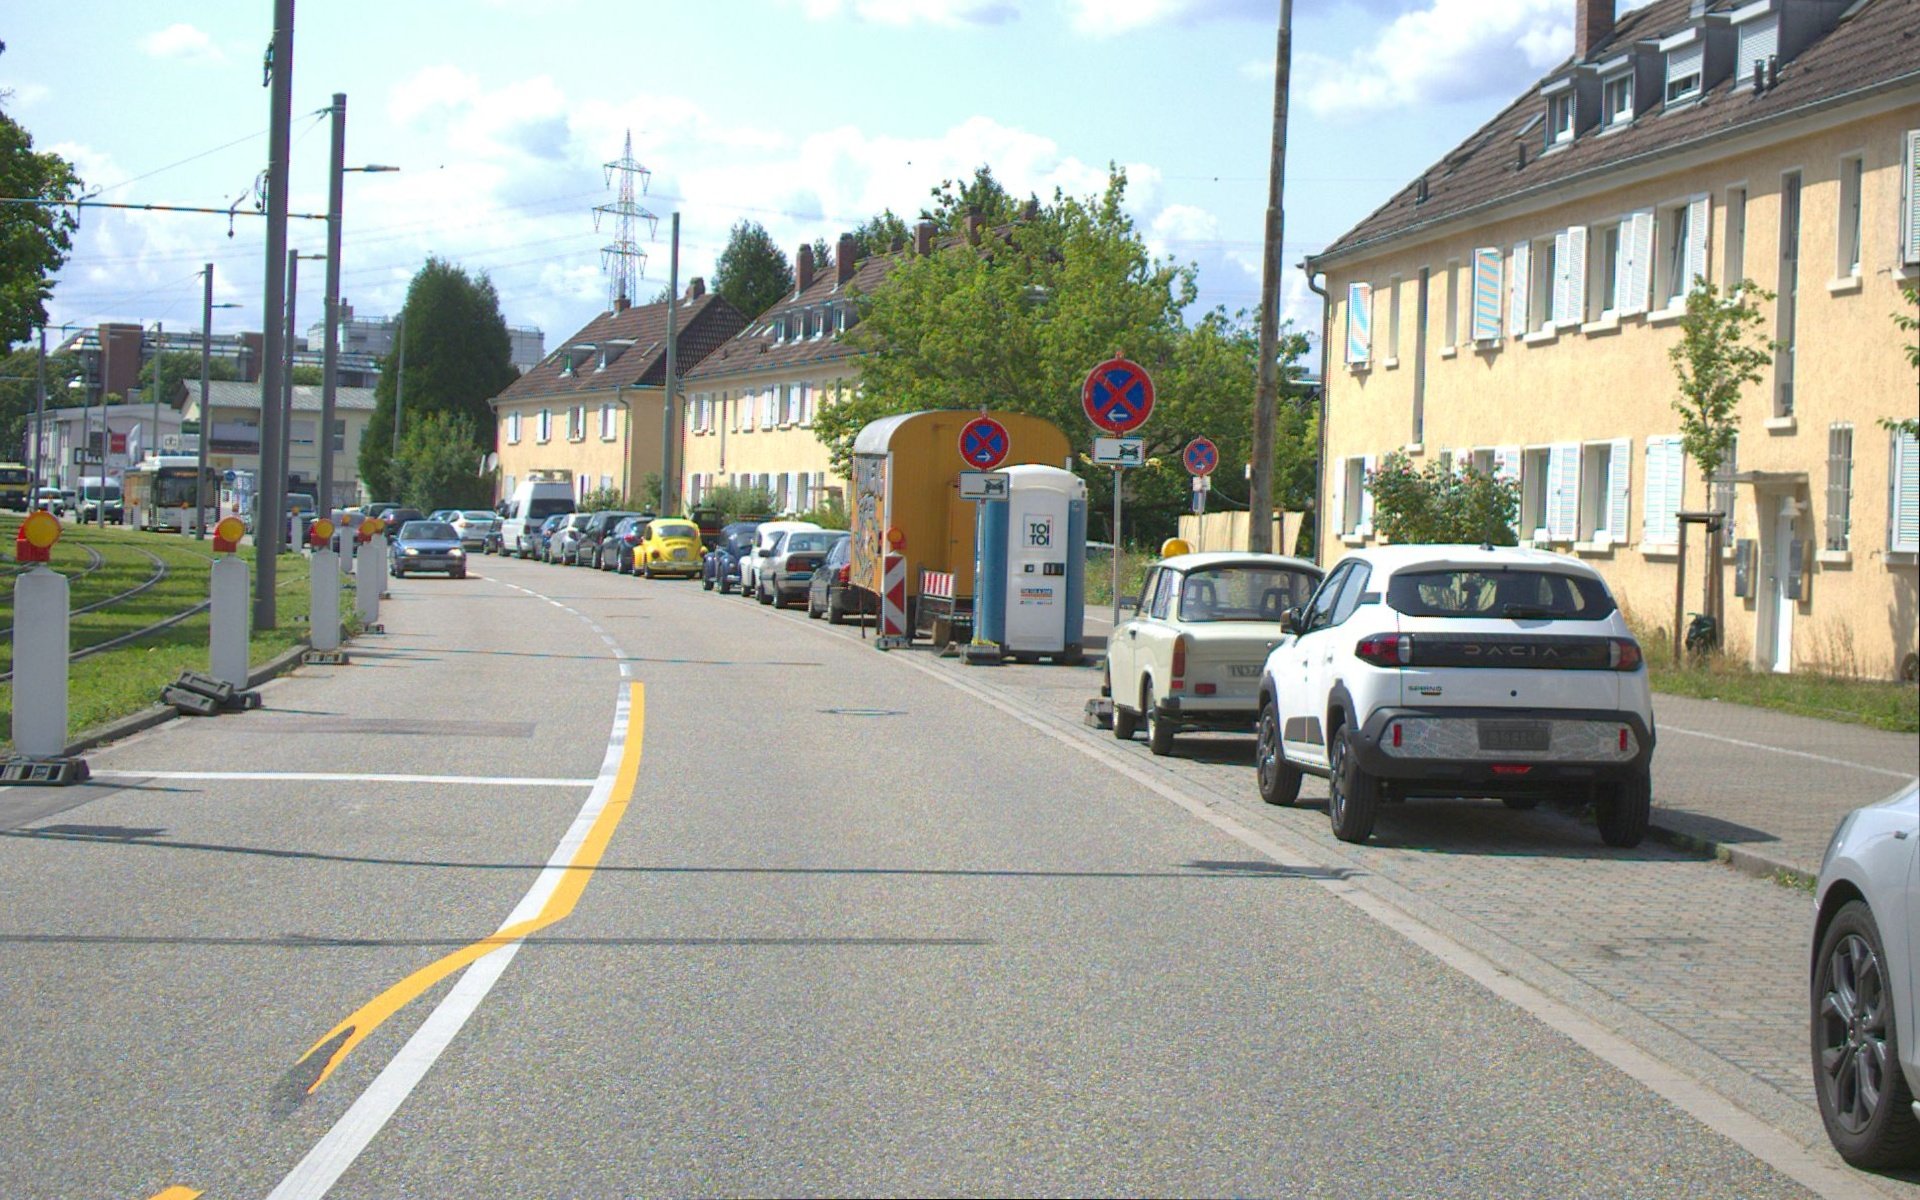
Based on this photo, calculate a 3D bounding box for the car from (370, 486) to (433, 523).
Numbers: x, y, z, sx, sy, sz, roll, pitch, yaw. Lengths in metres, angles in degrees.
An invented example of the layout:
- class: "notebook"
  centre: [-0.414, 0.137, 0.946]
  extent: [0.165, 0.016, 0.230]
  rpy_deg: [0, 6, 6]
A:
- class: "car"
  centre: [-21.904, -3.759, 134.784]
  extent: [1.763, 1.412, 4.002]
  rpy_deg: [-1, 2, -19]

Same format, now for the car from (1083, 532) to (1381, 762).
- class: "car"
  centre: [1.899, 0.277, 25.116]
  extent: [1.463, 1.497, 4.110]
  rpy_deg: [1, 1, -5]

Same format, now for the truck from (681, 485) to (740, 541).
- class: "truck"
  centre: [-7.836, -2.733, 107.897]
  extent: [1.346, 1.682, 2.442]
  rpy_deg: [1, 1, -15]

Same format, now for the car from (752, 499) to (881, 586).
- class: "car"
  centre: [-2.652, -1.074, 62.551]
  extent: [1.706, 1.444, 4.837]
  rpy_deg: [2, 2, -10]

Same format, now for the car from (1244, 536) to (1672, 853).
- class: "car"
  centre: [2.550, 0.420, 18.416]
  extent: [1.527, 1.476, 3.810]
  rpy_deg: [1, 1, -3]

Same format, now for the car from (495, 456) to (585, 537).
- class: "car"
  centre: [-13.332, -3.283, 108.909]
  extent: [1.929, 2.472, 5.520]
  rpy_deg: [0, 2, -16]

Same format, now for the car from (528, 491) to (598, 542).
- class: "car"
  centre: [-11.991, -2.540, 103.734]
  extent: [1.535, 1.440, 3.739]
  rpy_deg: [2, 2, -15]

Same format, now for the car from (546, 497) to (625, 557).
- class: "car"
  centre: [-10.821, -2.125, 99.151]
  extent: [1.635, 1.597, 4.031]
  rpy_deg: [2, 2, -15]

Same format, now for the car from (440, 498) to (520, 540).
- class: "car"
  centre: [-16.962, -2.856, 121.329]
  extent: [1.798, 1.453, 4.767]
  rpy_deg: [-1, 2, -20]

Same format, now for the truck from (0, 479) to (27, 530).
- class: "truck"
  centre: [-66.342, -6.642, 237.900]
  extent: [2.559, 3.447, 7.152]
  rpy_deg: [-1, 2, -22]

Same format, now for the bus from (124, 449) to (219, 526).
- class: "bus"
  centre: [-36.044, -5.164, 156.805]
  extent: [2.635, 3.400, 12.253]
  rpy_deg: [0, 2, -20]

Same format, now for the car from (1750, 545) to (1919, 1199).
- class: "car"
  centre: [3.010, 0.663, 6.647]
  extent: [1.749, 1.492, 4.386]
  rpy_deg: [1, 1, -3]

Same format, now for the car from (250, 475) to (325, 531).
- class: "car"
  centre: [-24.366, -3.528, 124.399]
  extent: [1.955, 1.959, 5.295]
  rpy_deg: [0, 2, -19]

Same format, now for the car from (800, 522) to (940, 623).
- class: "car"
  centre: [-1.472, -0.464, 54.709]
  extent: [1.577, 1.444, 4.455]
  rpy_deg: [2, 2, -10]

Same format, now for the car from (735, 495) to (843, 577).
- class: "car"
  centre: [-3.399, -1.279, 67.592]
  extent: [1.577, 1.507, 4.461]
  rpy_deg: [2, 2, -10]

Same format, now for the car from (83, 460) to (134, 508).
- class: "car"
  centre: [-45.157, -6.143, 182.255]
  extent: [2.102, 2.435, 5.573]
  rpy_deg: [1, 2, -19]

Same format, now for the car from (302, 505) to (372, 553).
- class: "car"
  centre: [-19.365, -2.218, 106.826]
  extent: [1.724, 1.384, 4.123]
  rpy_deg: [1, 2, -16]

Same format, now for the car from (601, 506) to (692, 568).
- class: "car"
  centre: [-8.217, -1.666, 89.862]
  extent: [1.635, 1.477, 4.126]
  rpy_deg: [2, 2, -15]

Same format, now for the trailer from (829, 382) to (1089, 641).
- class: "trailer"
  centre: [-0.101, -1.201, 46.288]
  extent: [2.689, 3.215, 5.083]
  rpy_deg: [2, 2, -8]

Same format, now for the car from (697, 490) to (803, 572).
- class: "car"
  centre: [-4.470, -1.478, 72.622]
  extent: [1.548, 1.635, 4.248]
  rpy_deg: [1, 2, -13]

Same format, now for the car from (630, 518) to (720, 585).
- class: "car"
  centre: [-7.036, -1.222, 84.648]
  extent: [1.636, 1.477, 3.933]
  rpy_deg: [-1, 3, -13]

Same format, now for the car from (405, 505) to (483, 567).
- class: "car"
  centre: [-12.646, -1.587, 84.187]
  extent: [1.665, 1.444, 3.961]
  rpy_deg: [-1, 2, -11]
